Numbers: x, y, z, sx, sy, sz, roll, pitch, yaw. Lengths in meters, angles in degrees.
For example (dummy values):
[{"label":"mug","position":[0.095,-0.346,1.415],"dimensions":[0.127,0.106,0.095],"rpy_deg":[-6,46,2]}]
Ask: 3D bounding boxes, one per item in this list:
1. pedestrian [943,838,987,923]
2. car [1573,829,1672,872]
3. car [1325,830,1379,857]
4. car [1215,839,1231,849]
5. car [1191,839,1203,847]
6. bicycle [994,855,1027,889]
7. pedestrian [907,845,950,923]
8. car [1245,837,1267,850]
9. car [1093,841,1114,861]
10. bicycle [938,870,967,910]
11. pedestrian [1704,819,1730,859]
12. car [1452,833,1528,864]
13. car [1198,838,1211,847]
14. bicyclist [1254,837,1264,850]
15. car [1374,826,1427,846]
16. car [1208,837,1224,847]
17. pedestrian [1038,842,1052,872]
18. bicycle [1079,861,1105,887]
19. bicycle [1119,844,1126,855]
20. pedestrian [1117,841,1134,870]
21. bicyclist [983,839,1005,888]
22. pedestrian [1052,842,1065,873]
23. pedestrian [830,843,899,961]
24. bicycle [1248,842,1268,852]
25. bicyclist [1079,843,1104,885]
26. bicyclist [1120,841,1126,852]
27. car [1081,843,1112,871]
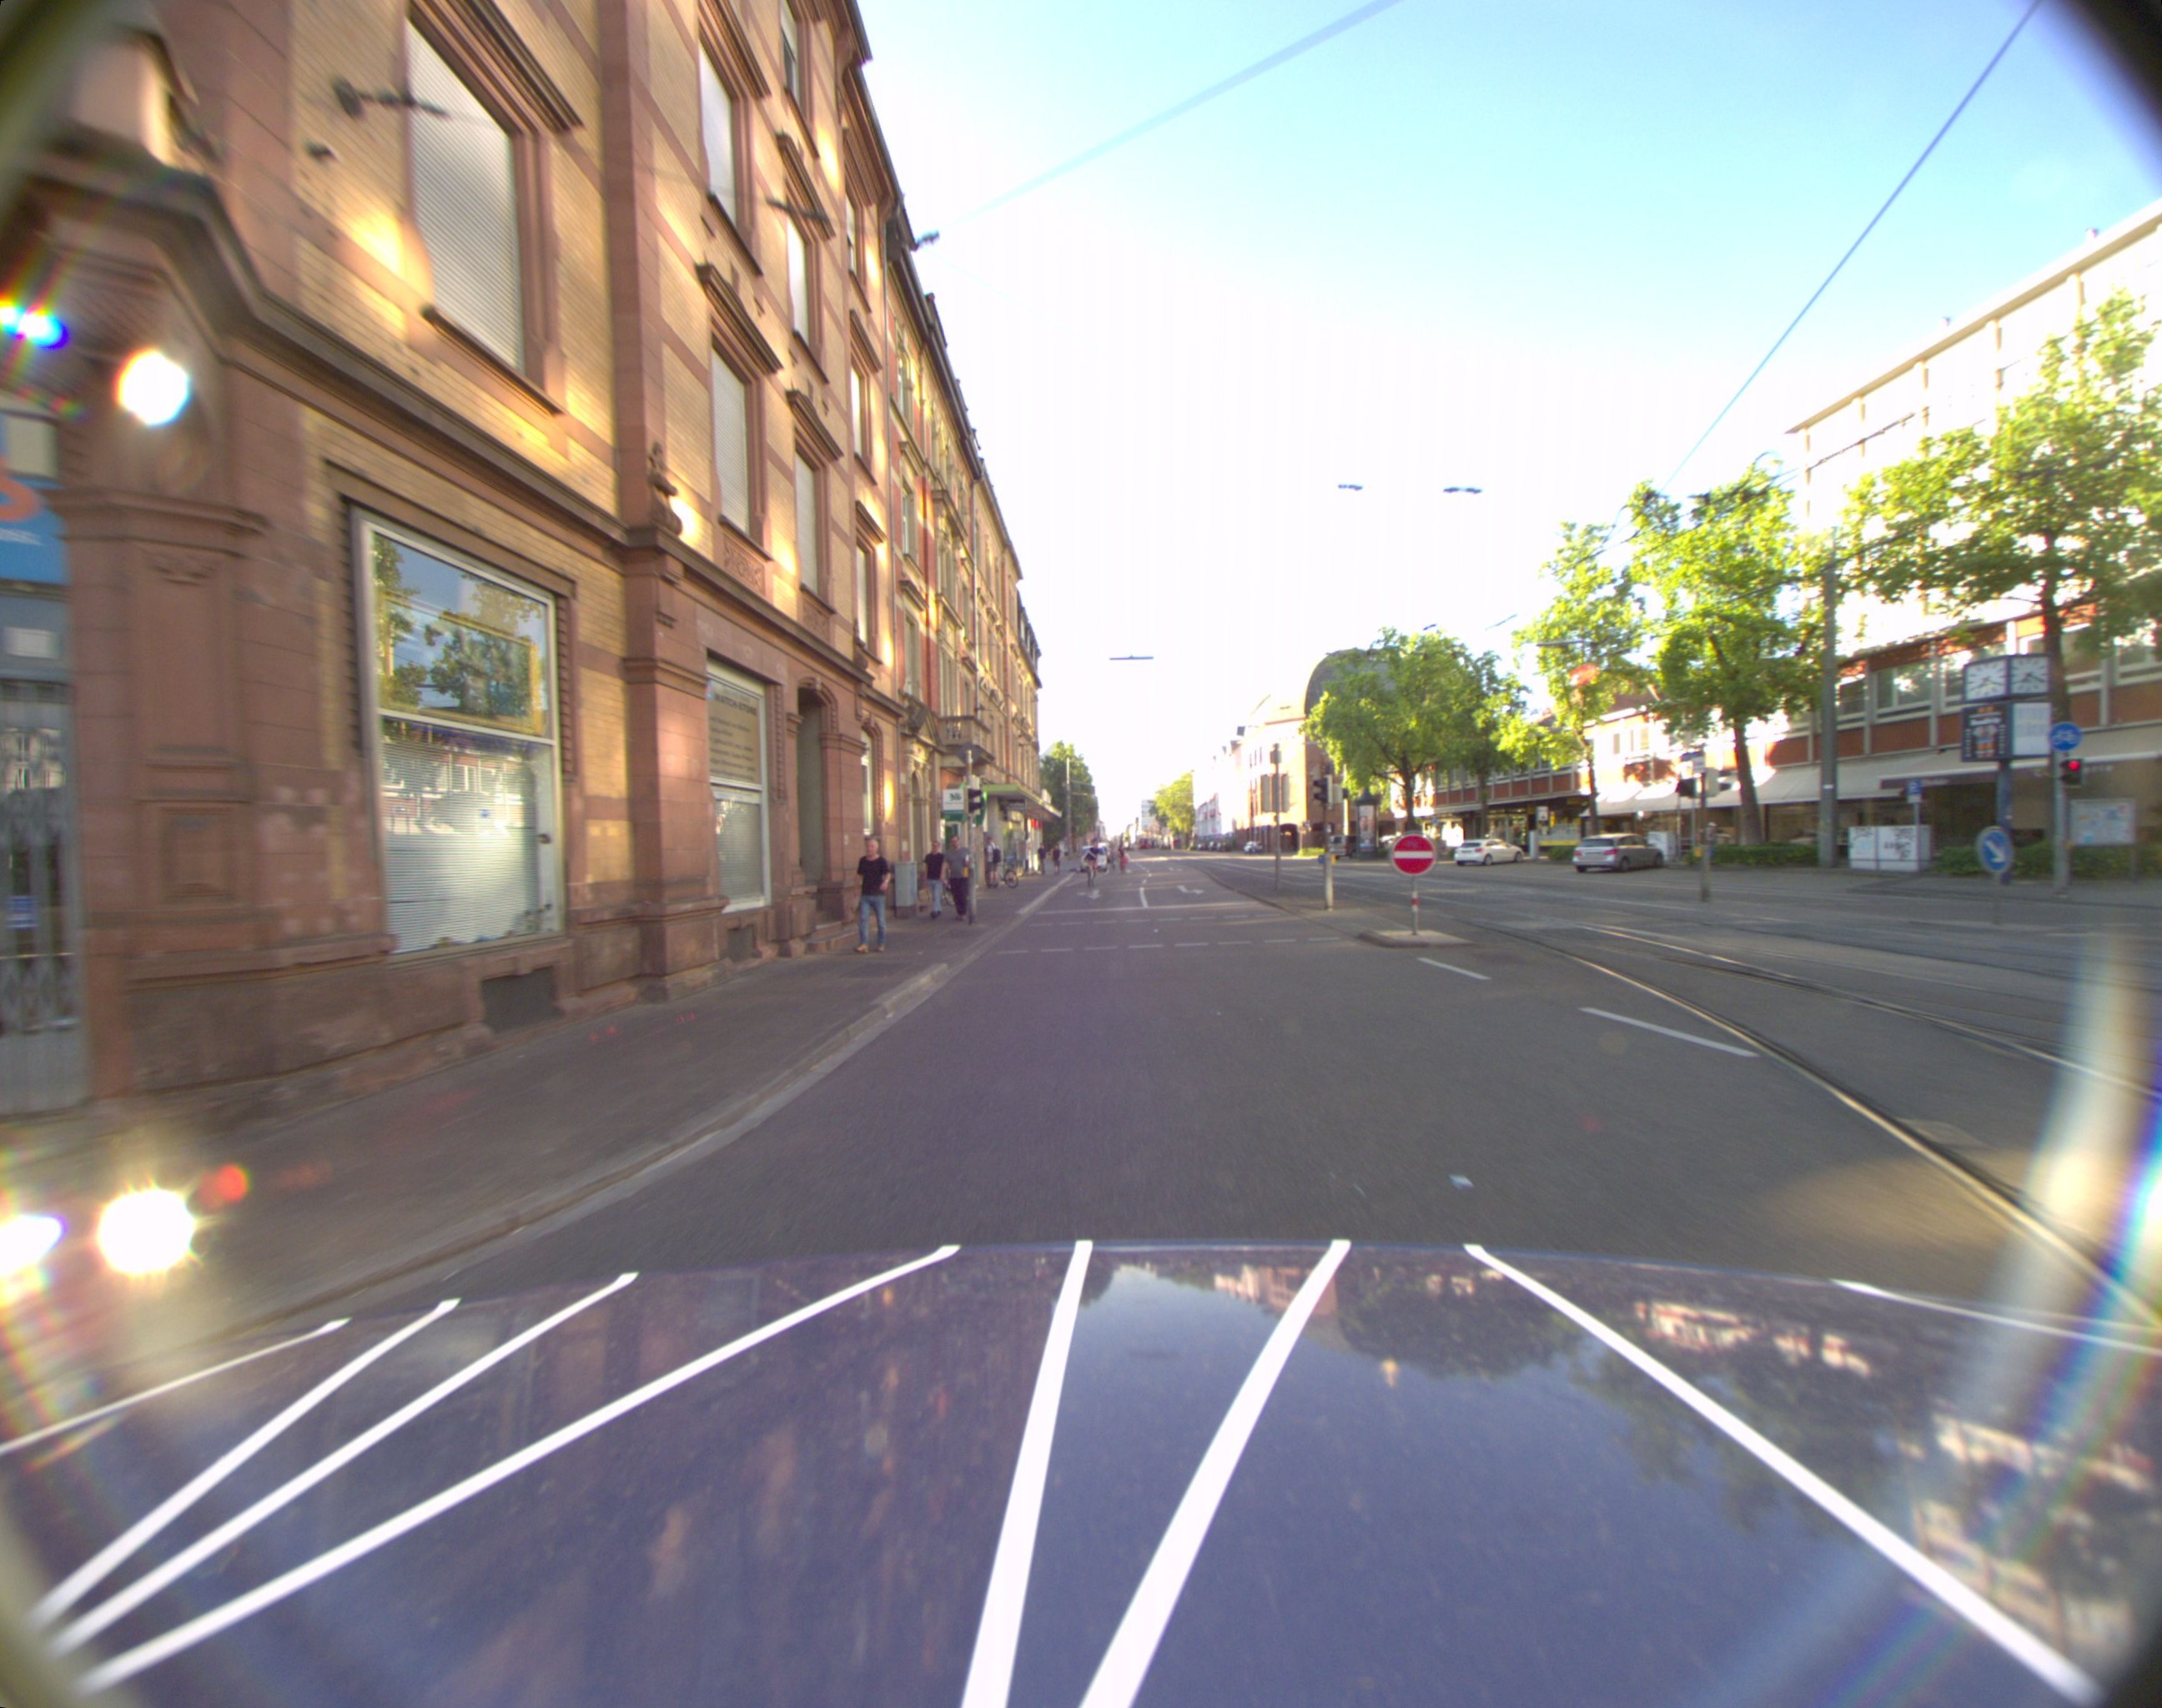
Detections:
[{"label":"pedestrian","position":[-2.601,0.573,17.088],"dimensions":[0.823,1.884,0.754],"rpy_deg":[0,2,3]},{"label":"car","position":[22.544,-0.166,31.621],"dimensions":[4.005,1.545,1.794],"rpy_deg":[-4,2,-29]},{"label":"car","position":[21.852,-0.864,61.241],"dimensions":[4.006,1.953,1.907],"rpy_deg":[-4,2,-32]},{"label":"car","position":[23.614,-1.697,126.408],"dimensions":[1.964,1.594,3.999],"rpy_deg":[-3,1,1]},{"label":"car","position":[25.540,-2.454,167.562],"dimensions":[1.964,1.594,3.999],"rpy_deg":[-3,1,1]},{"label":"bicycle","position":[-2.746,0.684,29.525],"dimensions":[0.669,1.246,1.891],"rpy_deg":[-2,1,-23]},{"label":"pedestrian","position":[-3.433,0.657,17.139],"dimensions":[0.777,1.713,0.754],"rpy_deg":[0,2,3]},{"label":"car","position":[22.861,-1.433,99.337],"dimensions":[1.910,1.594,3.999],"rpy_deg":[-3,1,1]},{"label":"car","position":[2.048,-0.302,69.283],"dimensions":[1.670,1.674,4.000],"rpy_deg":[-2,1,4]},{"label":"bicycle","position":[-3.499,0.966,20.705],"dimensions":[0.345,0.990,1.241],"rpy_deg":[0,2,12]},{"label":"pedestrian","position":[28.121,-0.663,33.584],"dimensions":[0.635,1.759,0.769],"rpy_deg":[-1,3,19]},{"label":"car","position":[22.837,-0.307,42.378],"dimensions":[4.005,1.466,1.794],"rpy_deg":[-4,2,-29]},{"label":"car","position":[24.573,-2.358,151.751],"dimensions":[1.964,1.594,3.999],"rpy_deg":[-3,1,1]},{"label":"bicyclist","position":[19.967,-1.130,85.189],"dimensions":[0.761,1.414,0.674],"rpy_deg":[0,2,38]},{"label":"car","position":[35.188,-1.977,83.746],"dimensions":[4.983,2.002,2.000],"rpy_deg":[-1,1,0]},{"label":"car","position":[23.549,-2.173,132.744],"dimensions":[1.964,1.594,3.999],"rpy_deg":[-3,1,1]},{"label":"pedestrian","position":[-2.059,0.152,43.733],"dimensions":[0.700,1.713,0.681],"rpy_deg":[0,2,4]},{"label":"bicycle","position":[0.445,0.799,30.920],"dimensions":[0.885,0.949,1.766],"rpy_deg":[-1,1,6]},{"label":"bicycle","position":[4.558,-0.523,83.641],"dimensions":[0.646,1.176,1.804],"rpy_deg":[-1,1,0]},{"label":"pedestrian","position":[2.552,0.068,43.463],"dimensions":[0.849,1.652,0.850],"rpy_deg":[-1,1,6]},{"label":"bicyclist","position":[-3.346,0.355,29.238],"dimensions":[0.600,1.871,0.742],"rpy_deg":[-2,2,-23]},{"label":"pedestrian","position":[-1.295,0.197,43.230],"dimensions":[0.700,1.713,0.502],"rpy_deg":[0,2,4]},{"label":"pedestrian","position":[-3.242,0.696,11.451],"dimensions":[0.777,1.713,0.754],"rpy_deg":[0,2,3]},{"label":"bicycle","position":[19.839,-0.780,85.315],"dimensions":[2.033,1.086,0.674],"rpy_deg":[-1,2,38]},{"label":"bicyclist","position":[0.439,0.392,30.917],"dimensions":[0.885,1.651,0.803],"rpy_deg":[-1,2,5]},{"label":"bicyclist","position":[4.610,-0.866,83.815],"dimensions":[0.646,1.176,0.723],"rpy_deg":[-1,1,0]},{"label":"car","position":[1.030,0.153,48.775],"dimensions":[1.670,1.674,4.001],"rpy_deg":[-2,1,6]}]
